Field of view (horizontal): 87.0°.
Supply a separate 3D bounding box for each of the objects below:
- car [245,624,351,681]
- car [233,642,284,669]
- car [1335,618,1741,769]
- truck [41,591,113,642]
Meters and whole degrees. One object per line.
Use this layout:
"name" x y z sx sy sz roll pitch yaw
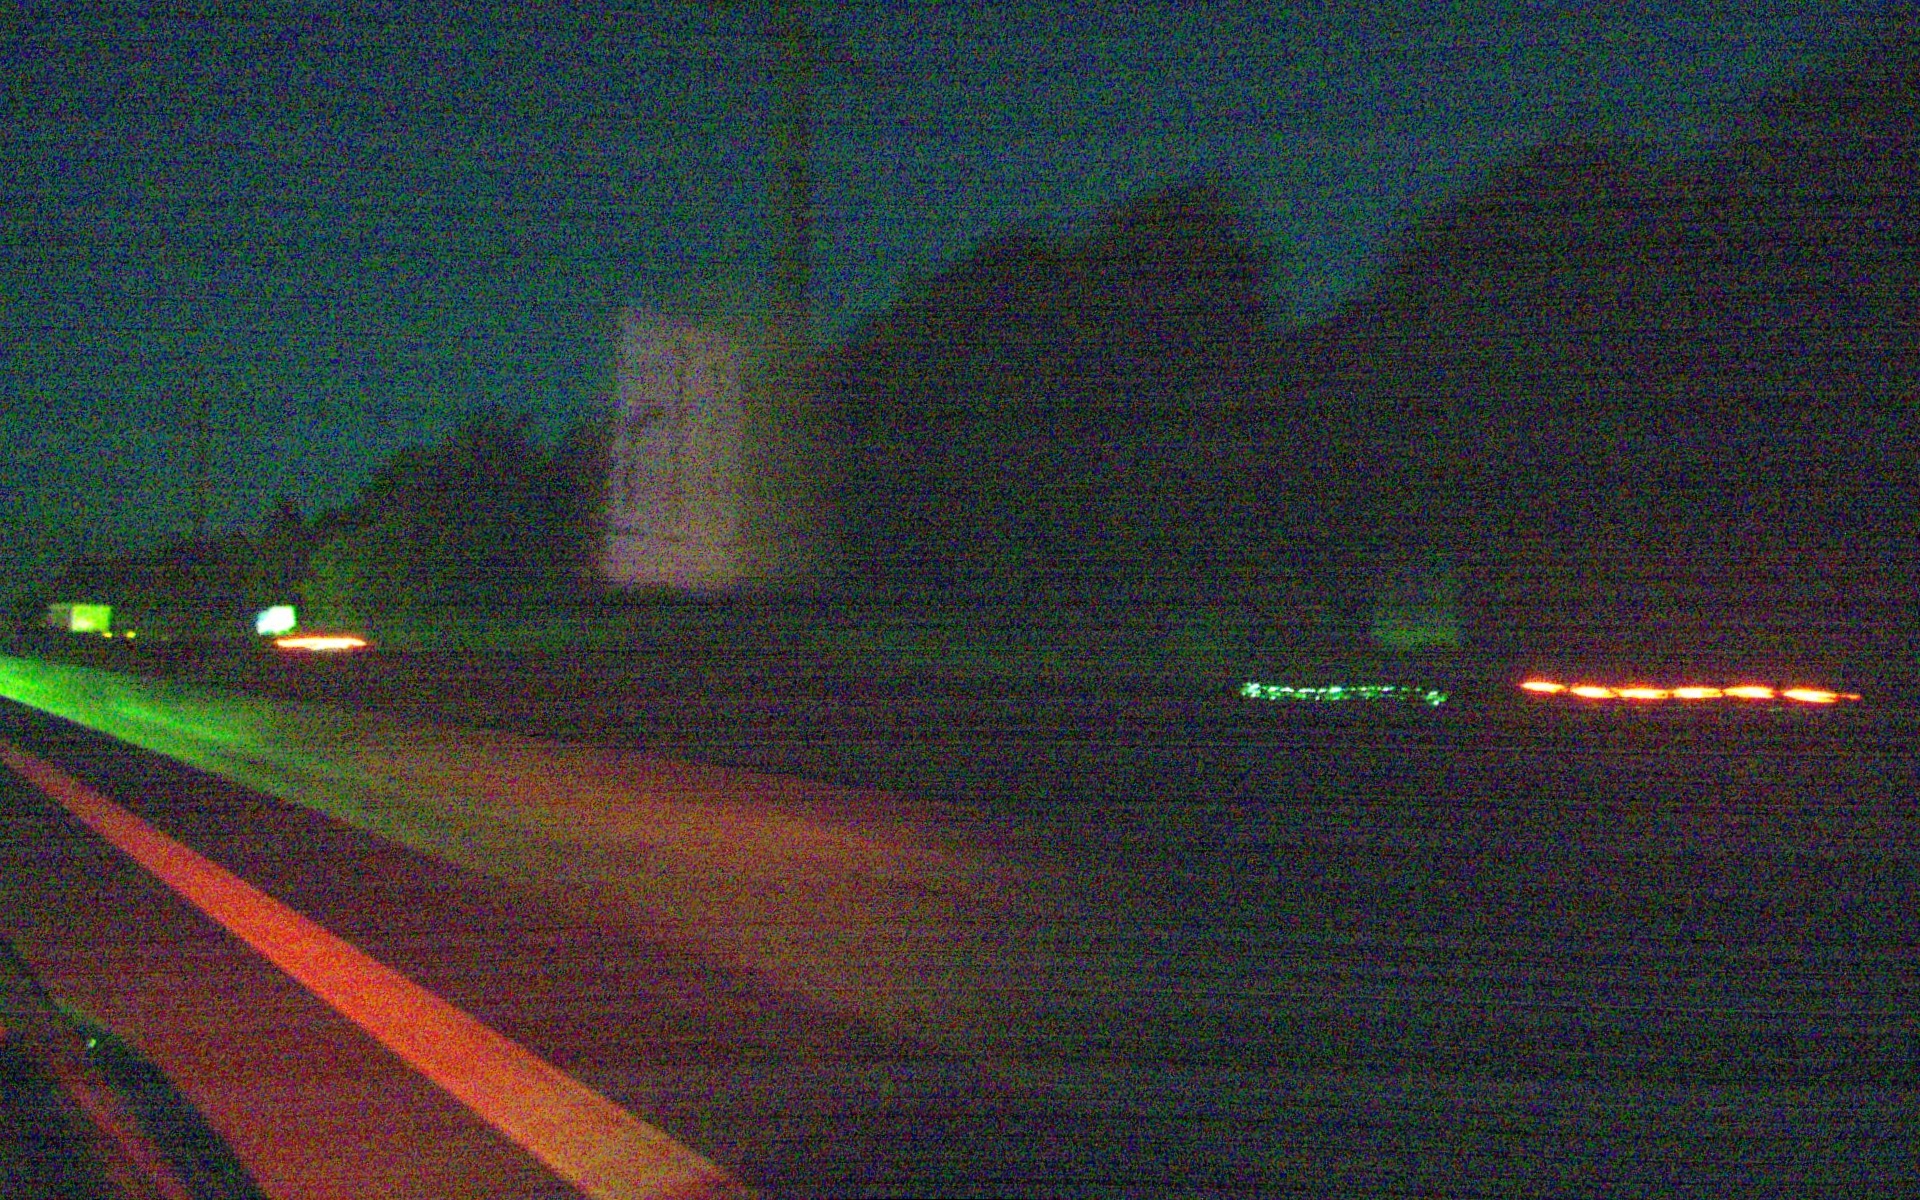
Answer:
"car" -23.318 1.788 35.584 5.167 1.696 1.774 0 1 41
"car" -37.559 2.936 54.155 3.627 1.342 1.410 -2 -1 41
"car" 7.494 1.084 13.421 4.468 1.563 1.621 0 1 41
"truck" -81.975 1.713 93.749 16.976 4.235 3.079 -3 -4 43
